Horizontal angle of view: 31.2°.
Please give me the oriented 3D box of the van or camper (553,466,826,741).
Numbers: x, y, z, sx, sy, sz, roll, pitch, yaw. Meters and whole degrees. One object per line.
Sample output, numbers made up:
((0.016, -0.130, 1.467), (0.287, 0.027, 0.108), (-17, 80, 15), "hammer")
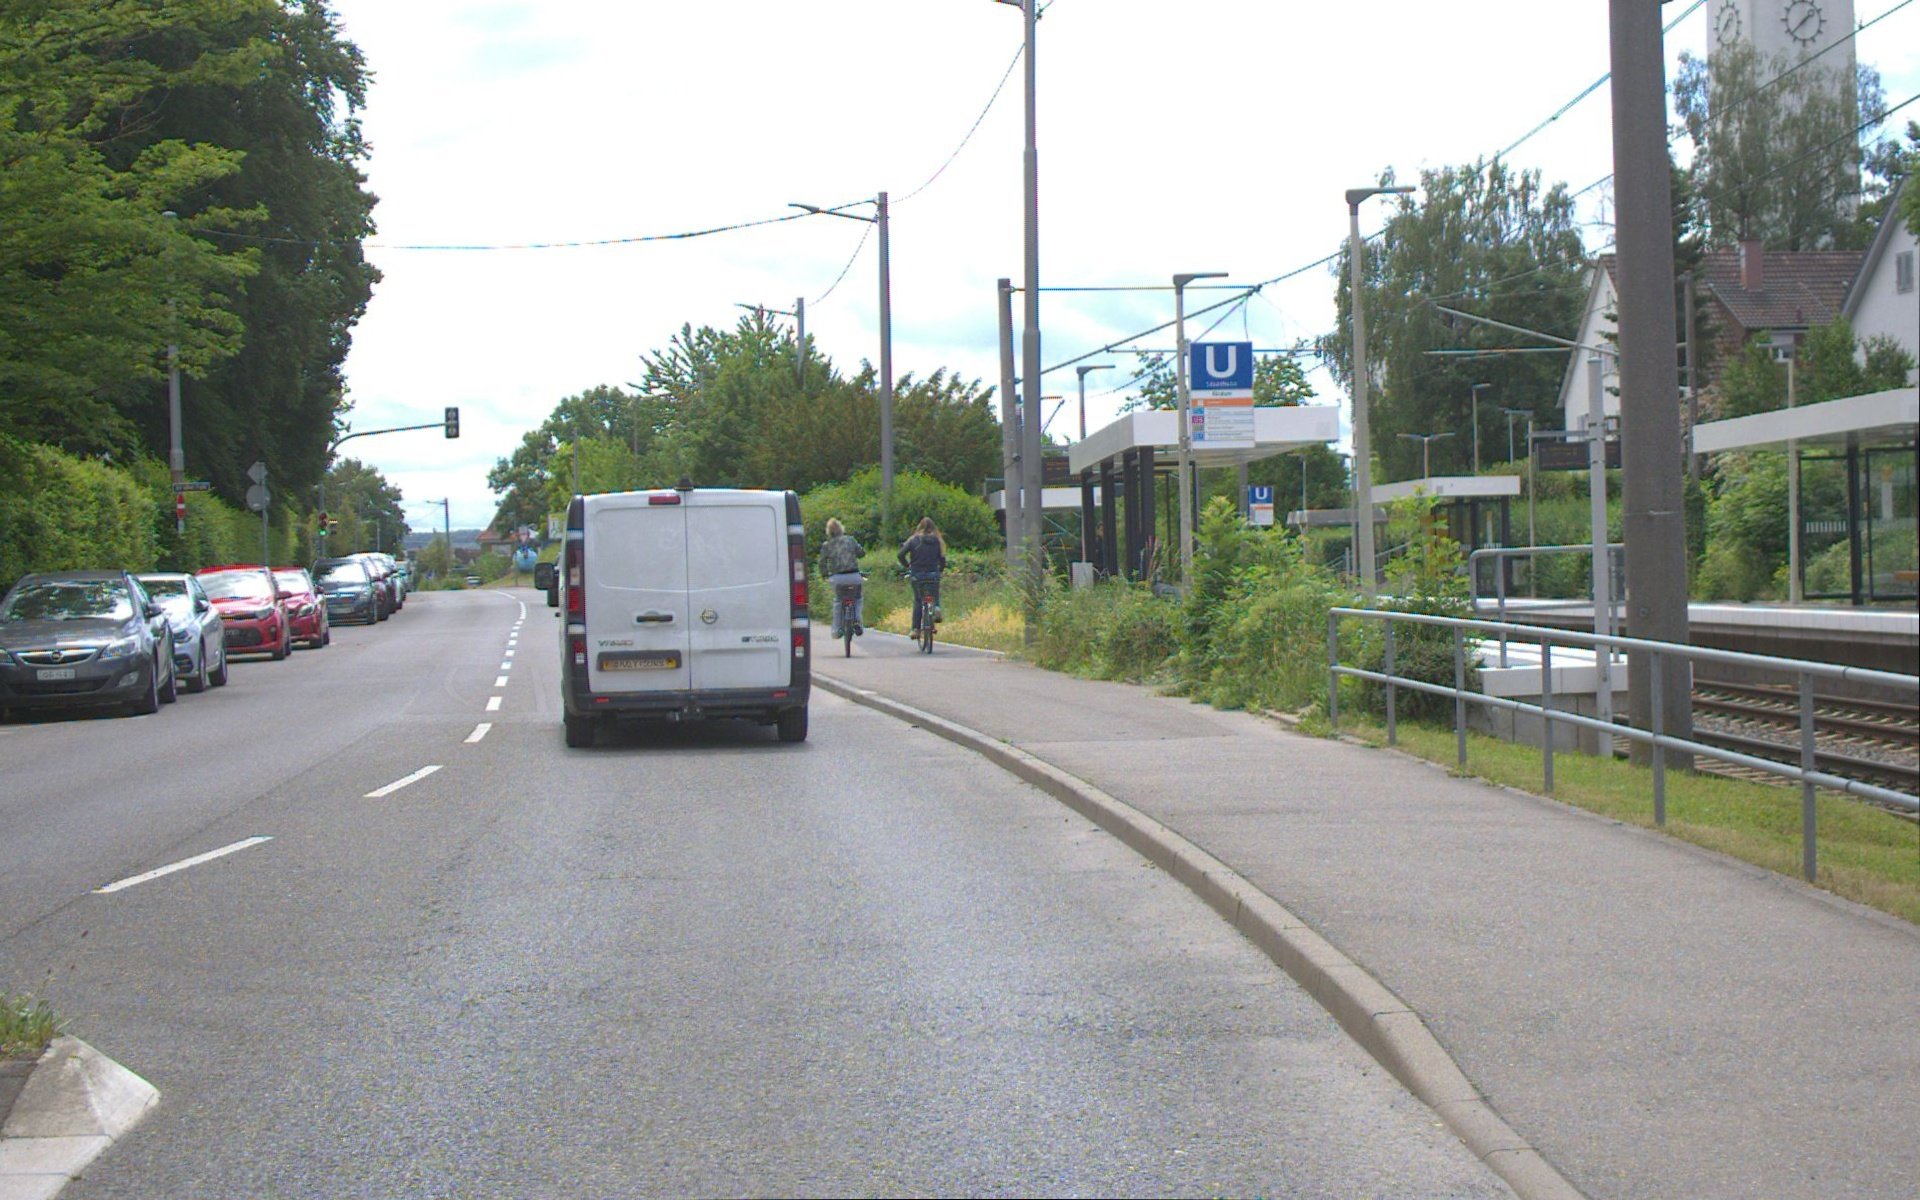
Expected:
((-2.237, 0.011, 27.438), (1.993, 2.007, 4.447), (0, 0, -7), "van or camper")

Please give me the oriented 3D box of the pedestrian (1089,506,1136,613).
((2.463, -0.656, 55.458), (0.638, 1.719, 0.654), (0, 1, 13), "pedestrian")

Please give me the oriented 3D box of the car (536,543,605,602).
((-11.318, -0.826, 100.020), (1.852, 1.642, 3.735), (-1, 1, -5), "car")

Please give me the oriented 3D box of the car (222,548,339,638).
((-11.999, -0.150, 60.916), (1.761, 1.466, 4.187), (-2, 1, -8), "car")

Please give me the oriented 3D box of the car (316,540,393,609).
((-15.506, -0.674, 88.196), (1.761, 1.651, 4.062), (-2, 1, -8), "car")

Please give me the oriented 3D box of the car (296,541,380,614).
((-14.803, -0.553, 81.954), (1.761, 1.620, 4.187), (-2, 1, -8), "car")

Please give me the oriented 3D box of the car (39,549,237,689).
((-9.832, 0.190, 41.383), (1.736, 1.499, 3.964), (-3, 1, -6), "car")

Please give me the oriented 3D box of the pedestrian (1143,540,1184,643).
((2.673, -0.110, 45.103), (0.395, 1.339, 0.487), (0, 1, 22), "pedestrian")

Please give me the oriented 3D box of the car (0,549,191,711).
((-9.151, 0.270, 35.924), (1.736, 1.499, 4.479), (-3, 1, -8), "car")

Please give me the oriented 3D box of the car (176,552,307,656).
((-11.220, 0.032, 53.884), (1.588, 1.499, 3.515), (-3, 1, -6), "car")

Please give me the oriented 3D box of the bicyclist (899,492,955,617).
((-0.445, -0.612, 46.005), (0.639, 1.644, 0.819), (-1, 1, -7), "bicyclist")

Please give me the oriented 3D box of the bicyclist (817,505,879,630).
((-1.464, -0.433, 44.972), (0.717, 1.606, 0.758), (-1, 1, -7), "bicyclist")

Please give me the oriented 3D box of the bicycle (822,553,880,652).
((-1.438, 0.021, 44.977), (0.546, 1.242, 2.056), (-1, 1, -7), "bicycle")

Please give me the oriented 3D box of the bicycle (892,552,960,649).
((-0.462, -0.006, 46.136), (0.618, 1.242, 2.396), (-1, 1, -7), "bicycle")
